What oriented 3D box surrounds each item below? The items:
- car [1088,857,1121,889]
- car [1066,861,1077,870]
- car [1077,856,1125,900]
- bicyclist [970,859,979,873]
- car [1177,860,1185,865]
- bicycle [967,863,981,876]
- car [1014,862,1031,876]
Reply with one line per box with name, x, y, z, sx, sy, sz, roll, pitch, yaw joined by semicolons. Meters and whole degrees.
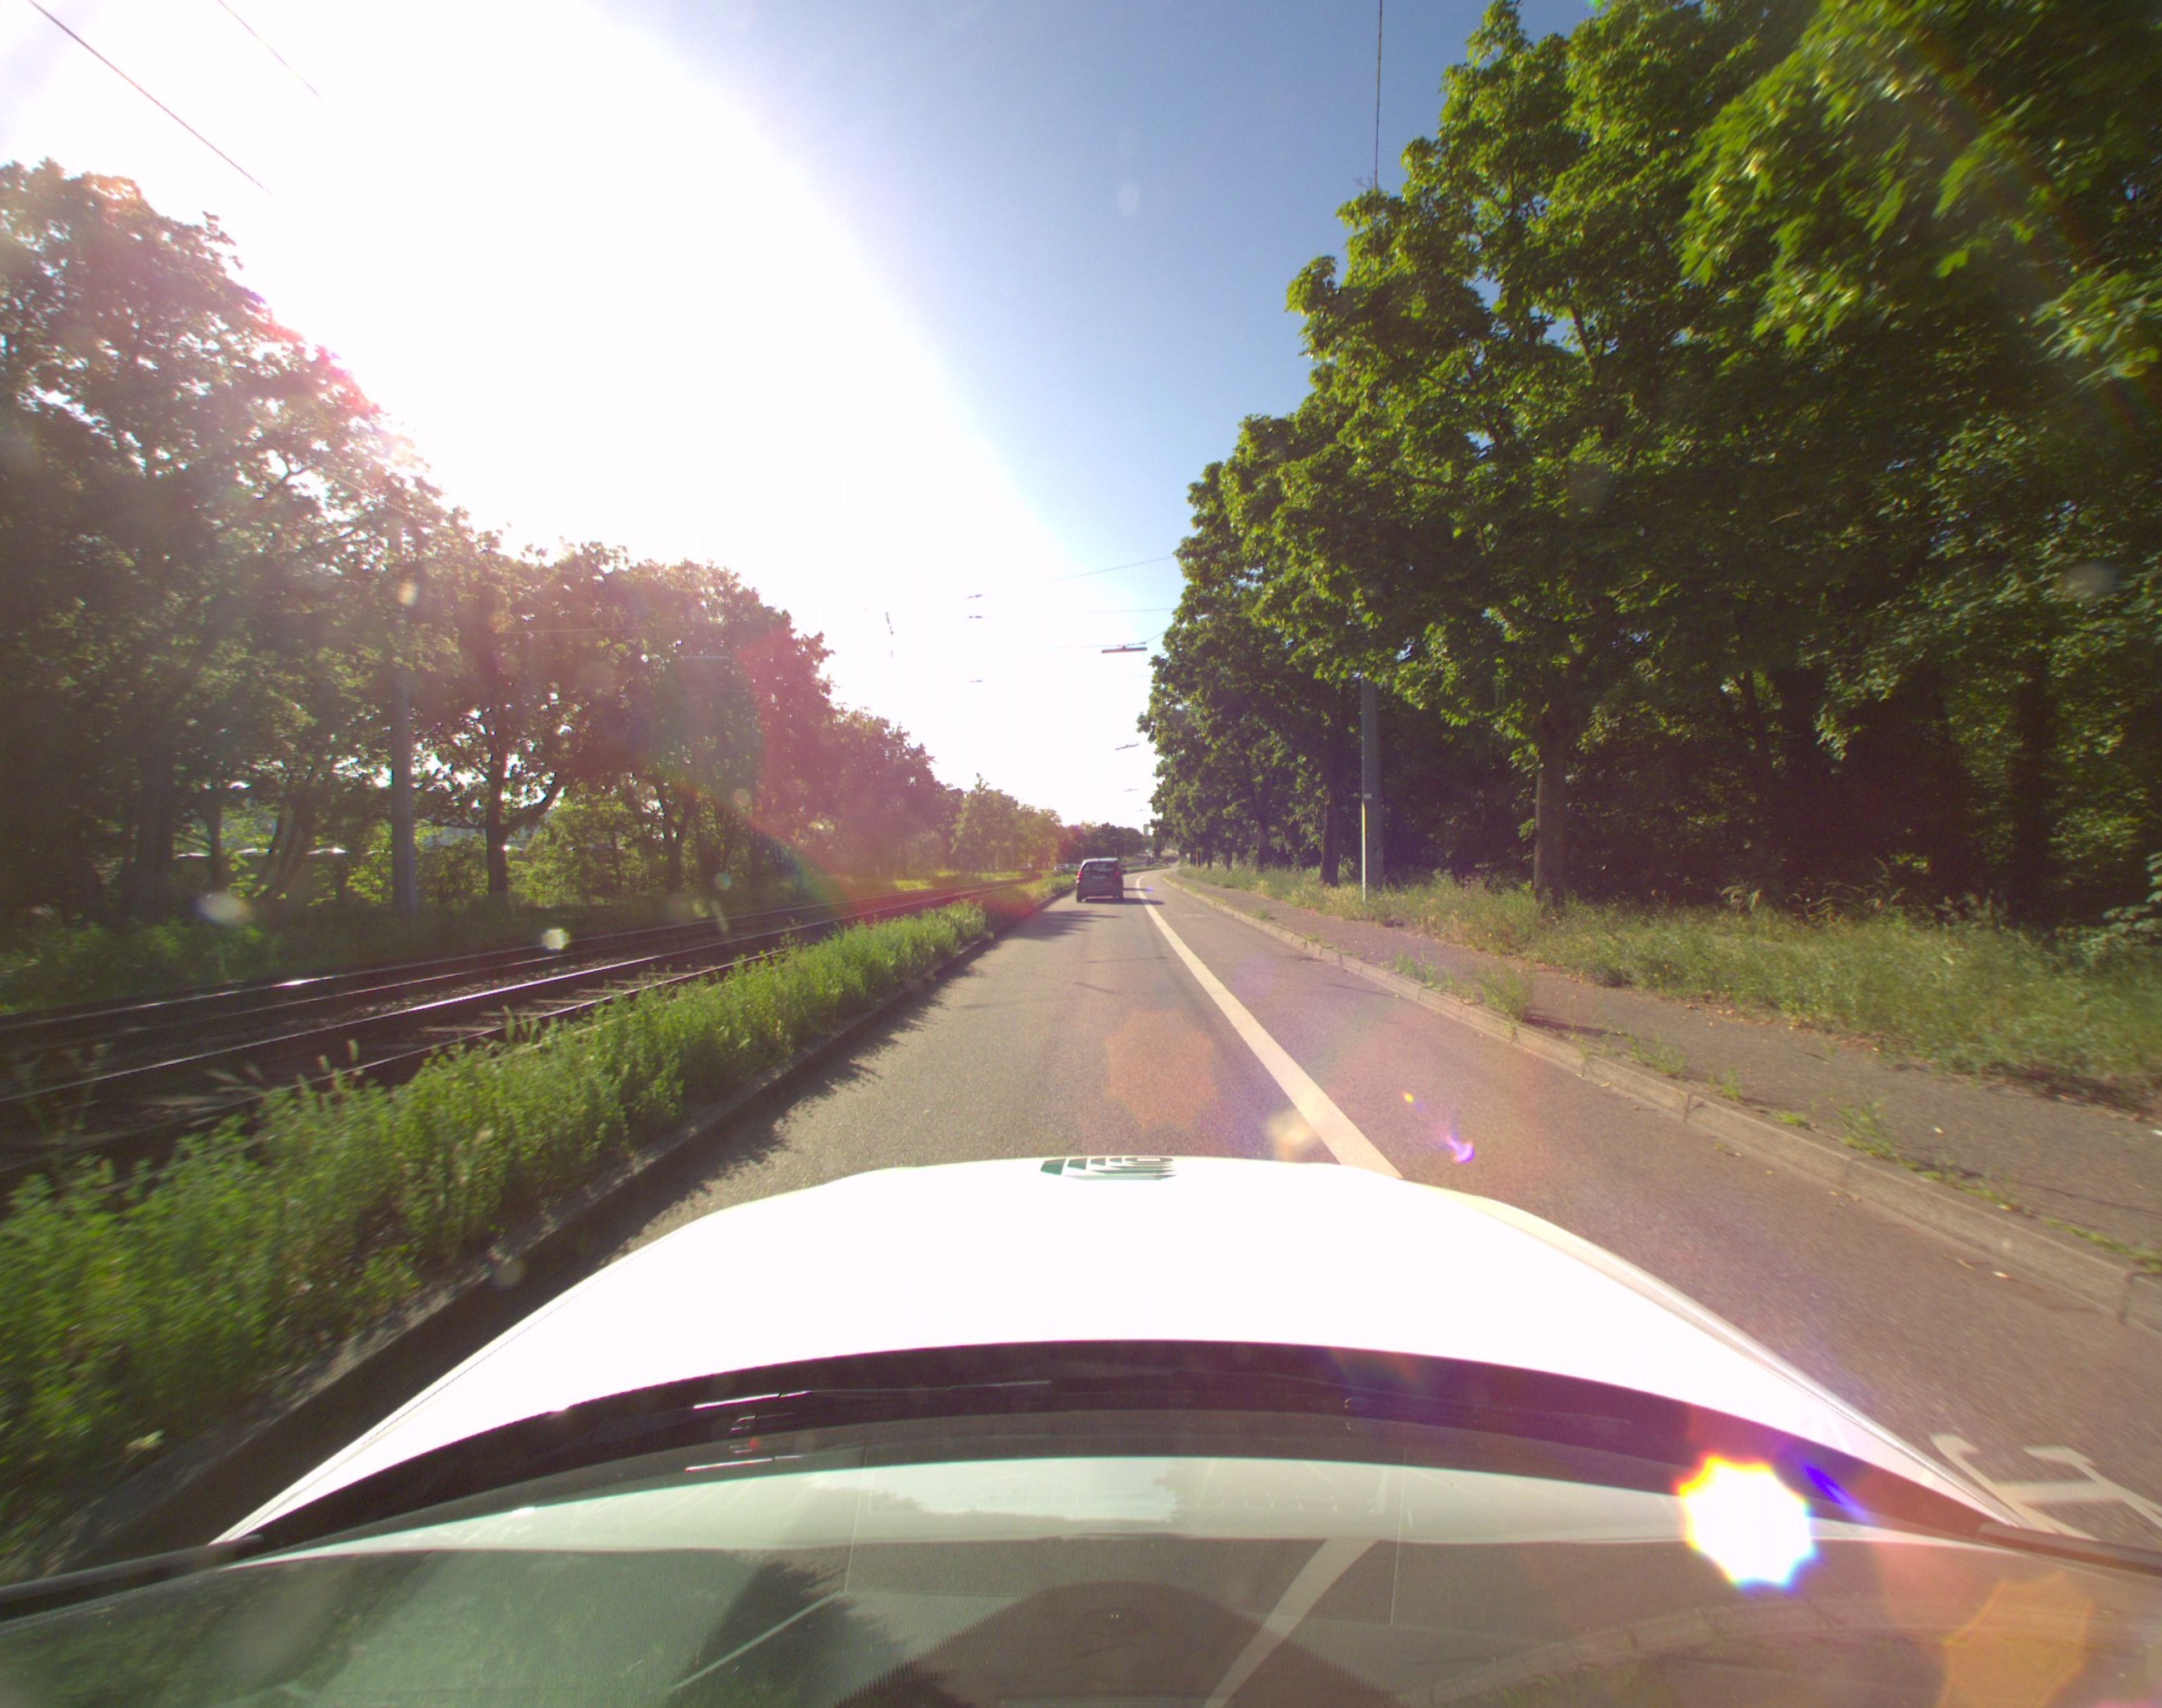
car;1.225;0.966;42.438;1.648;1.507;3.813;0;1;2
car;-1.894;2.265;162.815;1.693;1.683;4.006;0;2;4
car;0.757;0.831;29.914;1.663;1.507;3.812;0;0;2
bicyclist;-11.177;1.263;85.616;0.786;1.489;1.110;0;2;4
car;29.615;2.440;240.911;1.643;1.313;3.826;1;2;14
bicycle;-11.191;1.593;85.429;0.785;1.195;3.173;0;2;5
car;-8.734;2.205;122.077;1.984;1.875;4.006;0;2;4
